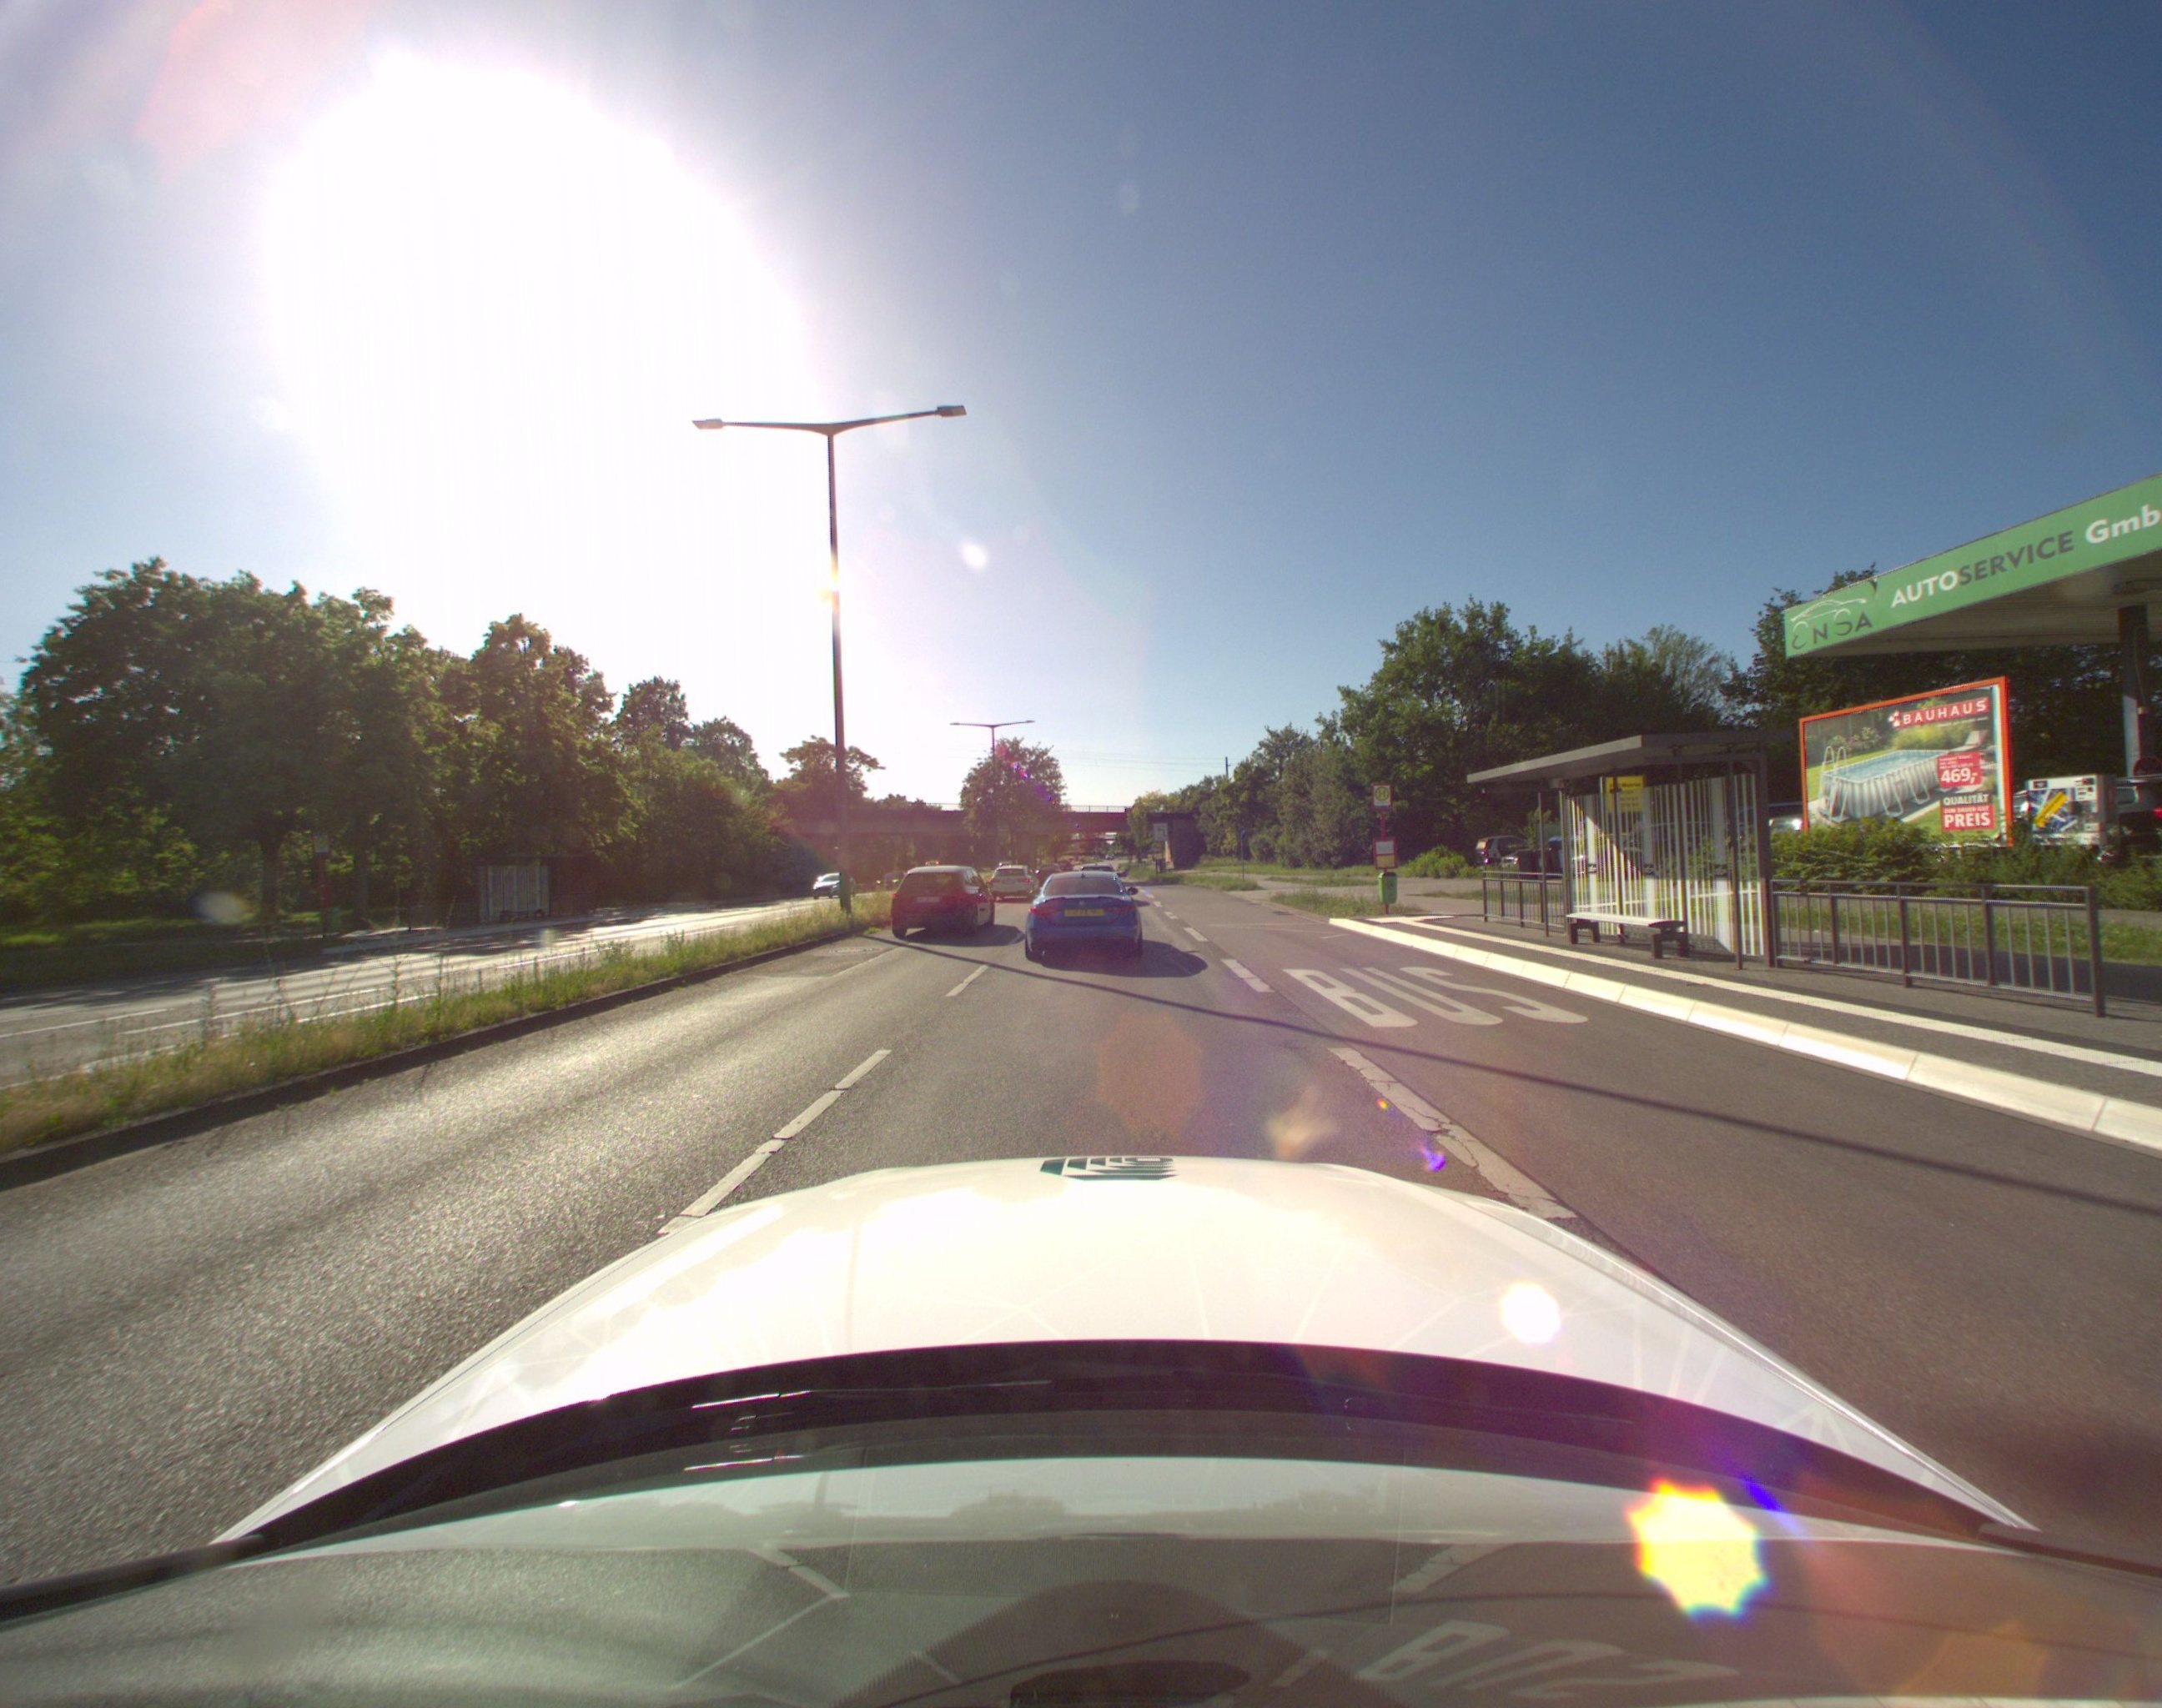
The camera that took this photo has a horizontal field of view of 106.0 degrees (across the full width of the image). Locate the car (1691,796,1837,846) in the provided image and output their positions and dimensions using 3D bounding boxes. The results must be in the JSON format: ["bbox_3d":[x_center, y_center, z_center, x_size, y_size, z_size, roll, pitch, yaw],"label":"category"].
[{"bbox_3d":[26.219,-1.247,31.356,4.021,1.531,1.735,-4,-1,2],"label":"car"}]

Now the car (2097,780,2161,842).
[{"bbox_3d":[29.009,-1.185,20.839,3.978,1.517,1.734,-3,-1,-3],"label":"car"}]

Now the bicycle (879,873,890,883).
[{"bbox_3d":[-21.323,2.631,88.303,0.681,1.030,1.715,-1,-1,1],"label":"bicycle"}]

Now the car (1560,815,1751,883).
[{"bbox_3d":[17.243,-0.121,24.742,4.502,1.640,1.813,-5,-1,31],"label":"car"}]

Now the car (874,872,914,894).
[{"bbox_3d":[-14.193,2.185,62.081,1.811,1.435,4.632,-4,-1,1],"label":"car"}]

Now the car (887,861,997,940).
[{"bbox_3d":[-3.091,0.989,18.970,1.701,1.598,4.225,-1,-1,1],"label":"car"}]

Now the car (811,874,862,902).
[{"bbox_3d":[-14.517,2.011,48.525,1.635,1.451,4.112,-4,-1,1],"label":"car"}]

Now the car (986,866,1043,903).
[{"bbox_3d":[-2.722,1.228,34.409,1.876,1.454,4.527,-1,-1,1],"label":"car"}]

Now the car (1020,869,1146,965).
[{"bbox_3d":[0.087,0.994,14.409,1.876,1.406,4.225,-1,-1,1],"label":"car"}]

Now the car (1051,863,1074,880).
[{"bbox_3d":[-1.625,1.539,73.539,1.773,1.454,4.183,-2,-1,1],"label":"car"}]

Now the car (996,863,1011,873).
[{"bbox_3d":[-12.180,2.148,128.647,1.810,1.442,4.090,-3,-1,1],"label":"car"}]

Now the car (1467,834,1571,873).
[{"bbox_3d":[17.741,-0.006,33.110,3.270,1.486,1.773,-1,-1,3],"label":"car"}]

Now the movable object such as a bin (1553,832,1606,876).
[{"bbox_3d":[16.703,0.003,27.274,0.994,1.428,1.245,-1,-1,-41],"label":"movable object such as a bin"}]

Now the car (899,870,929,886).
[{"bbox_3d":[-17.045,2.402,83.323,1.907,1.454,4.491,-4,-1,1],"label":"car"}]

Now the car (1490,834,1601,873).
[{"bbox_3d":[17.665,-0.013,31.075,3.270,1.417,1.729,-1,-1,3],"label":"car"}]

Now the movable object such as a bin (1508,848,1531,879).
[{"bbox_3d":[15.431,0.329,28.627,0.585,1.075,0.504,-1,-1,-40],"label":"movable object such as a bin"}]

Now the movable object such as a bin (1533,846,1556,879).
[{"bbox_3d":[16.011,0.289,28.133,0.585,1.121,0.504,-1,-1,-40],"label":"movable object such as a bin"}]

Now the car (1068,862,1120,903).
[{"bbox_3d":[0.538,1.068,31.879,1.876,1.454,4.527,-1,-1,1],"label":"car"}]

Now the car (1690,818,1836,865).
[{"bbox_3d":[22.802,-0.361,27.436,1.717,1.464,3.917,-1,-1,2],"label":"car"}]

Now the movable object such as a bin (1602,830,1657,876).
[{"bbox_3d":[17.885,-0.033,26.550,0.994,1.428,1.210,-2,-1,-41],"label":"movable object such as a bin"}]

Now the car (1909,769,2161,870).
[{"bbox_3d":[17.852,-0.556,14.616,1.737,1.573,4.251,-2,-1,3],"label":"car"}]

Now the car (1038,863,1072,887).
[{"bbox_3d":[-1.620,1.339,52.204,1.876,1.454,4.527,-1,-1,1],"label":"car"}]

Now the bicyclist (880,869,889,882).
[{"bbox_3d":[-21.322,2.327,88.349,0.677,1.402,1.027,-1,-1,1],"label":"bicyclist"}]

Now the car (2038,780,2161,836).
[{"bbox_3d":[31.090,-1.339,23.949,1.602,1.464,3.706,-1,-1,2],"label":"car"}]
